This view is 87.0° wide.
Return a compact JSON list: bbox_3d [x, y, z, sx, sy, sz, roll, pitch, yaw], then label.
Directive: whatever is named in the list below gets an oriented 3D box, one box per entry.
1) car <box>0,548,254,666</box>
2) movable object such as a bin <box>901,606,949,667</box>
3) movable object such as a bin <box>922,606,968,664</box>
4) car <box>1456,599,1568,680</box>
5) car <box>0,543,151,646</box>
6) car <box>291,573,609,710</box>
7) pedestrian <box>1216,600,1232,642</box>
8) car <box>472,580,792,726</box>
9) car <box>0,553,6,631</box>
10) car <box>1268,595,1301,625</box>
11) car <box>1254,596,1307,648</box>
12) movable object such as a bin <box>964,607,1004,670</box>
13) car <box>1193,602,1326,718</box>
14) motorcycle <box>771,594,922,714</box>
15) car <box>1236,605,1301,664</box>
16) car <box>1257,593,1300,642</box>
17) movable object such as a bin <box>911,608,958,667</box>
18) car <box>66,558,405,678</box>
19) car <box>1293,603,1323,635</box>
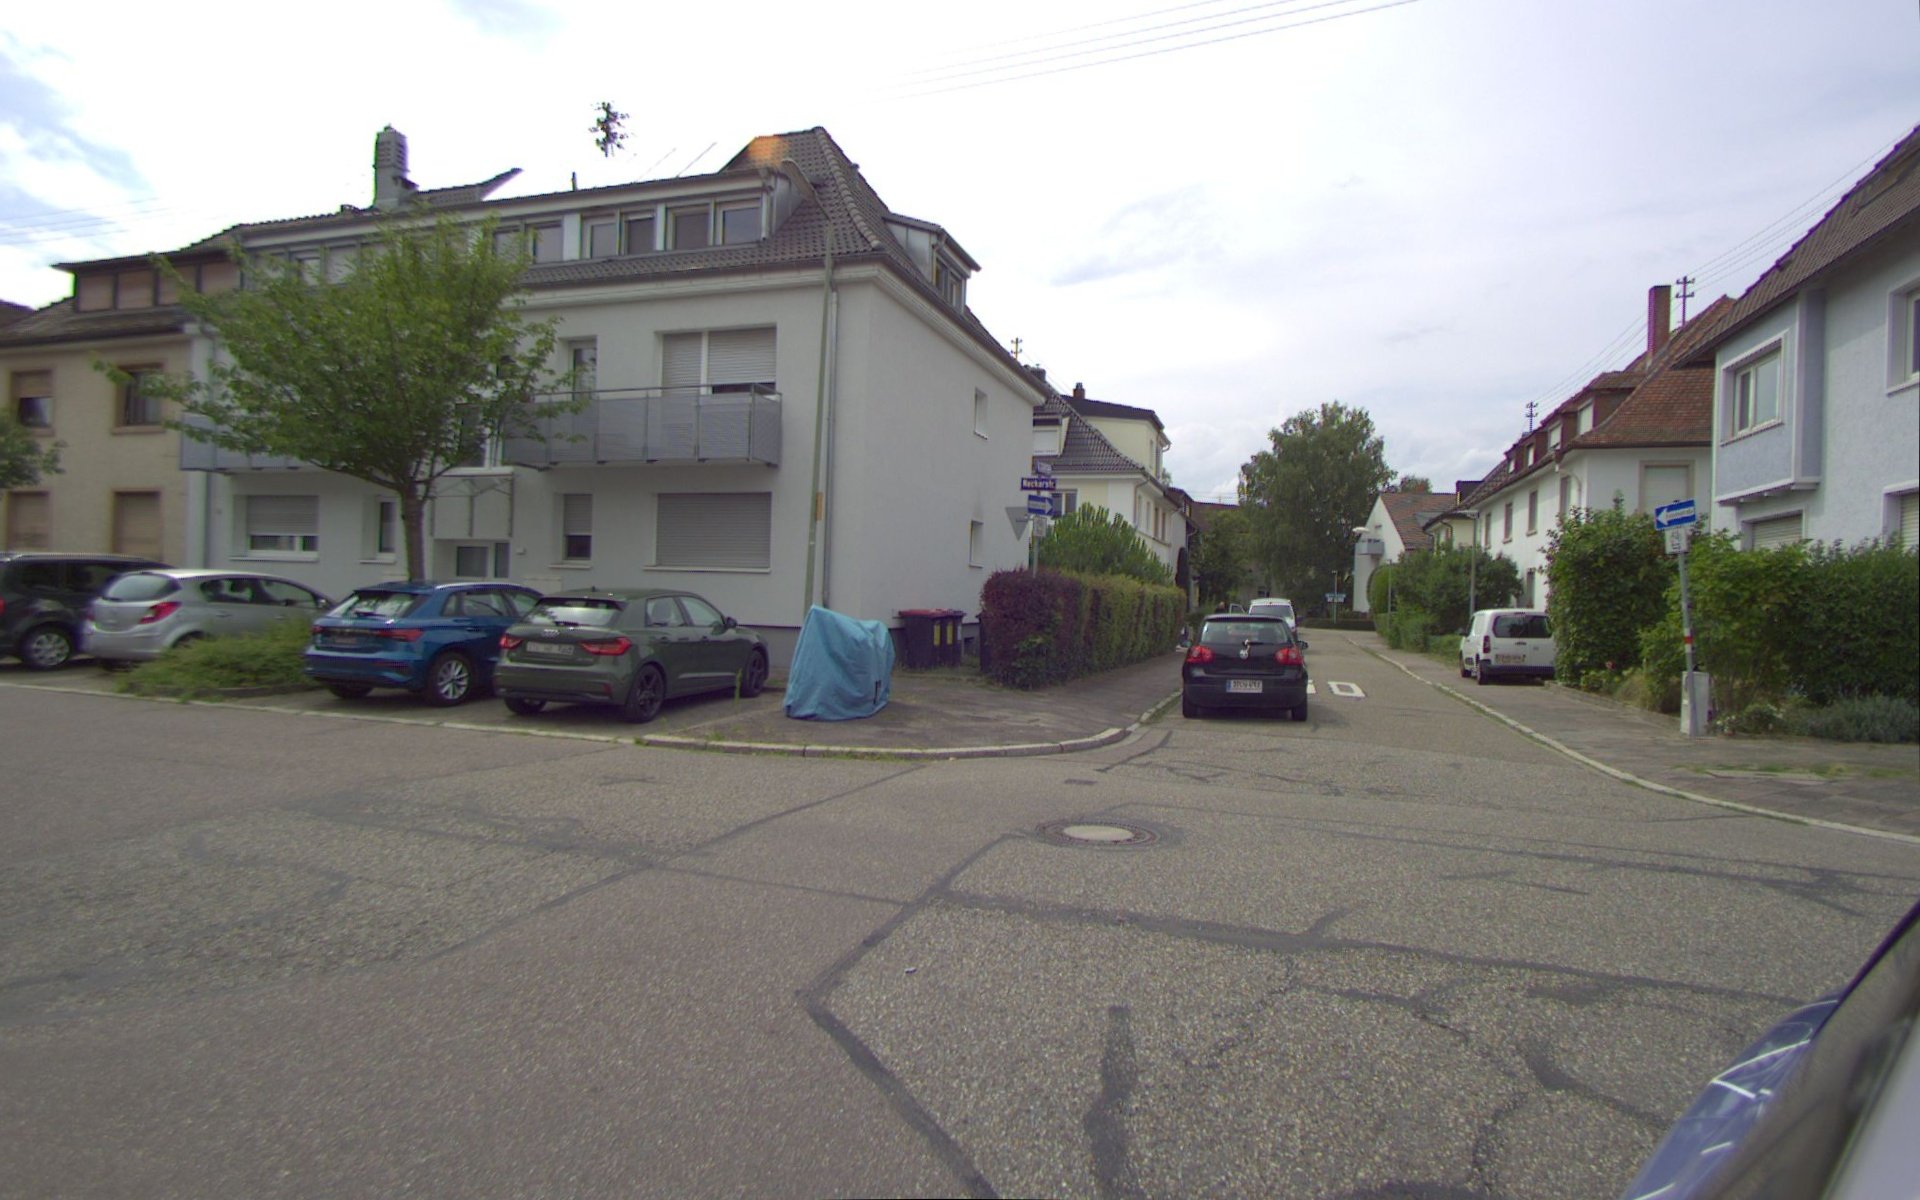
[{"bbox_3d":[-13.230,0.028,15.433,1.751,1.583,3.736,2,2,20],"label":"car"},{"bbox_3d":[-0.607,0.620,17.585,0.690,1.021,0.518,2,0,17],"label":"movable object such as a bin"},{"bbox_3d":[-0.274,0.635,18.624,0.690,1.021,0.518,2,0,17],"label":"movable object such as a bin"},{"bbox_3d":[13.577,0.911,25.115,1.682,1.828,3.793,0,0,17],"label":"car"},{"bbox_3d":[-16.028,-0.118,16.592,1.844,1.638,3.975,2,2,20],"label":"car"},{"bbox_3d":[-6.199,0.391,12.731,1.539,1.429,3.508,2,2,19],"label":"car"},{"bbox_3d":[11.130,0.888,42.656,0.550,1.740,0.613,2,-1,8],"label":"pedestrian"},{"bbox_3d":[-3.703,0.486,12.130,1.751,1.382,3.736,2,2,20],"label":"car"},{"bbox_3d":[-20.259,-0.128,18.384,1.700,1.537,3.977,2,2,19],"label":"car"},{"bbox_3d":[21.615,0.635,67.533,1.885,1.754,3.750,2,2,16],"label":"car"},{"bbox_3d":[12.230,0.809,38.736,1.782,1.817,3.793,2,0,17],"label":"car"},{"bbox_3d":[0.411,0.638,17.131,0.540,1.021,0.609,2,0,15],"label":"movable object such as a bin"},{"bbox_3d":[4.383,0.784,15.194,1.639,1.461,3.798,2,0,14],"label":"car"},{"bbox_3d":[-1.246,0.568,11.723,0.927,1.226,2.188,2,0,17],"label":"motorcycle"},{"bbox_3d":[8.947,0.932,29.398,1.641,1.537,3.793,2,0,17],"label":"car"},{"bbox_3d":[13.435,0.708,42.806,1.641,1.928,3.793,2,0,17],"label":"car"},{"bbox_3d":[-0.445,0.658,18.106,0.690,1.021,0.518,2,0,17],"label":"movable object such as a bin"},{"bbox_3d":[-10.732,0.165,15.361,1.700,1.537,3.977,2,2,19],"label":"car"},{"bbox_3d":[20.956,1.129,61.012,1.525,1.682,3.620,2,2,17],"label":"car"}]
